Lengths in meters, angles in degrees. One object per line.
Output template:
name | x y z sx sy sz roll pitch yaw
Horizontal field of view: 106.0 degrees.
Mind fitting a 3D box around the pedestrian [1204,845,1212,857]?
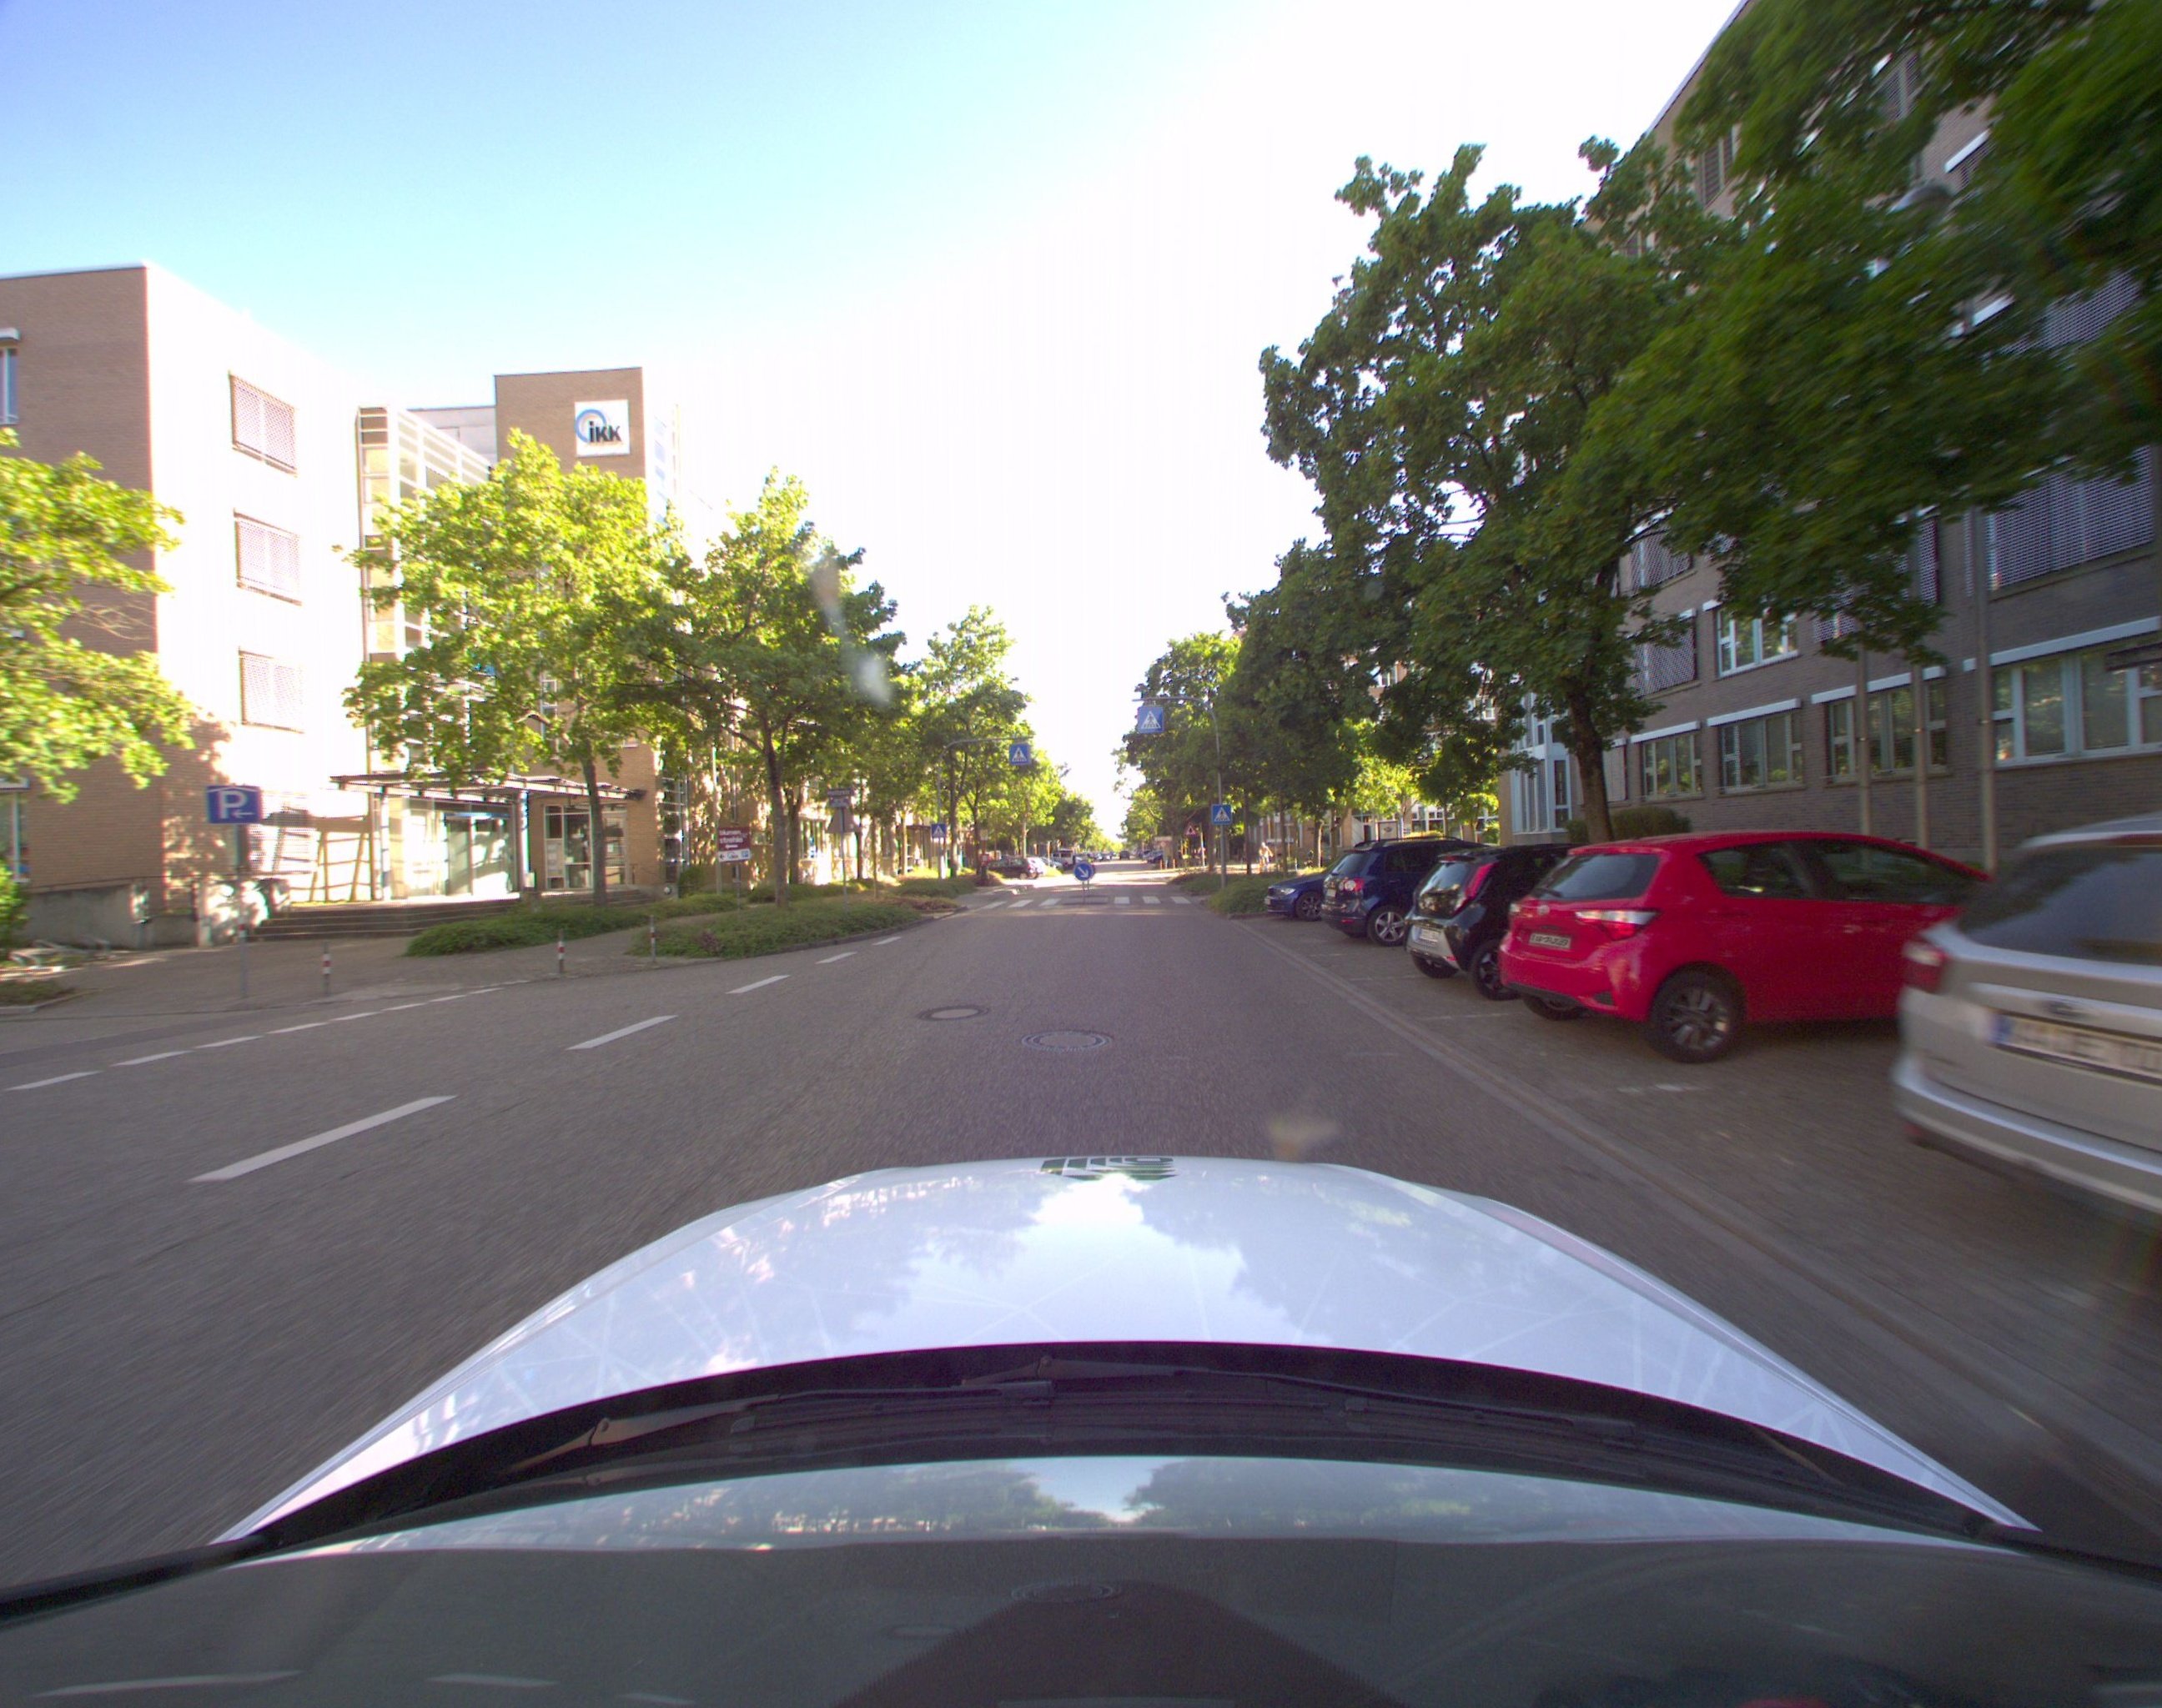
pedestrian | 18.114 -0.409 115.991 0.695 1.710 0.918 -6 1 -8

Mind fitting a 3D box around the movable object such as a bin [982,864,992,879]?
movable object such as a bin | -4.891 0.915 42.375 0.440 0.731 0.408 -1 0 3

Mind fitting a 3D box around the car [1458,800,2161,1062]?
car | 5.405 0.494 6.282 4.113 1.517 1.835 -3 0 -2

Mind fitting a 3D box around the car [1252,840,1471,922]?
car | 5.970 0.547 17.623 4.103 1.370 1.654 -4 0 -1

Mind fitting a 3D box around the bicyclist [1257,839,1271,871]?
bicyclist | 9.756 0.044 43.401 0.534 1.636 0.823 -2 0 4

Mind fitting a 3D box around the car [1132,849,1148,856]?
car | 16.298 -0.496 224.508 3.977 1.792 1.998 -2 0 -3

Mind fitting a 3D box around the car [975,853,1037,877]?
car | -4.986 0.750 54.526 3.971 1.570 1.729 0 0 2

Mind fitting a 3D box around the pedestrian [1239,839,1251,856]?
pedestrian | 17.493 -0.697 86.838 0.918 1.710 0.695 -6 1 -11

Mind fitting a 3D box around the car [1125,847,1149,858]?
car | 10.495 -0.279 152.692 4.254 1.633 1.858 -3 0 0

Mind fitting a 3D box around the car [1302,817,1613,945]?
car | 5.862 0.413 13.008 4.113 1.590 1.659 -4 -1 -2

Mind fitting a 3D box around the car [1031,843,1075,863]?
car | -2.903 -0.121 84.683 4.466 2.051 2.000 -1 0 0

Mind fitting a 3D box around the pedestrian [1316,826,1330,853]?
pedestrian | 14.564 -0.878 49.063 0.537 1.582 0.647 -2 0 -7

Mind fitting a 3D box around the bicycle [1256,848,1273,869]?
bicycle | 9.759 0.207 43.384 0.531 1.078 1.922 -2 0 4

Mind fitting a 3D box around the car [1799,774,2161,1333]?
car | 5.036 0.462 2.510 3.969 1.584 1.716 -3 0 4

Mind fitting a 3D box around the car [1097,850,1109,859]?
car | 3.758 0.103 137.352 1.772 1.511 4.003 -2 0 3

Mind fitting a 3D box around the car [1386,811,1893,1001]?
car | 5.573 0.482 8.478 4.113 1.461 1.659 -4 0 -2

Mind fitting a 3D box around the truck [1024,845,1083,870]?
truck | -2.986 0.394 90.299 6.206 2.422 2.189 -3 0 3

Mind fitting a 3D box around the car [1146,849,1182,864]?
car | 10.579 0.316 103.917 4.343 1.597 1.937 -3 0 -4

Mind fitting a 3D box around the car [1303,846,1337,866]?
car | 18.459 0.130 63.104 1.645 1.462 3.920 -2 1 3

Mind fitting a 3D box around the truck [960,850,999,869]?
truck | -16.378 0.915 131.656 6.091 2.704 2.575 -3 0 -4

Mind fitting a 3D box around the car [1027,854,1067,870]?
car | -3.355 0.817 81.530 3.761 1.492 1.835 -1 0 4

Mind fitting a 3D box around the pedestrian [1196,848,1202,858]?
pedestrian | 17.430 -0.180 120.684 0.698 1.458 0.715 -3 0 0

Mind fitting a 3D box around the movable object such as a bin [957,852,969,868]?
movable object such as a bin | -12.215 0.622 84.413 1.145 1.619 1.437 -2 0 -10

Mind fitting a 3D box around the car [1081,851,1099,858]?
car | 1.901 0.058 179.241 3.878 1.464 1.859 -2 0 1

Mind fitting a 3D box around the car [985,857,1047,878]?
car | -4.516 0.965 57.370 4.135 1.402 1.802 0 0 2

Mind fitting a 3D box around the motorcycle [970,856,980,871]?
motorcycle | -11.636 1.053 89.487 0.712 1.591 2.110 -3 0 1

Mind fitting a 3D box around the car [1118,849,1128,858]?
car | 8.059 -0.028 155.845 1.925 1.597 4.369 -3 0 2

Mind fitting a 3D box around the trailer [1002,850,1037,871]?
trailer | -5.069 0.553 67.494 2.714 1.687 1.714 -1 0 3

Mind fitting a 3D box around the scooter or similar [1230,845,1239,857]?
scooter or similar | 17.412 -0.336 92.433 0.547 1.325 1.804 -1 0 -2

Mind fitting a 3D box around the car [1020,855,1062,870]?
car | -3.839 0.820 79.224 3.815 1.461 1.735 -1 0 6

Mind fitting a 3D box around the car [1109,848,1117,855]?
car | 8.852 -0.745 225.956 1.885 1.684 4.353 -3 0 1

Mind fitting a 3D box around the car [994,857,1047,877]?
car | -4.442 0.956 60.537 3.740 1.452 1.755 0 0 2
